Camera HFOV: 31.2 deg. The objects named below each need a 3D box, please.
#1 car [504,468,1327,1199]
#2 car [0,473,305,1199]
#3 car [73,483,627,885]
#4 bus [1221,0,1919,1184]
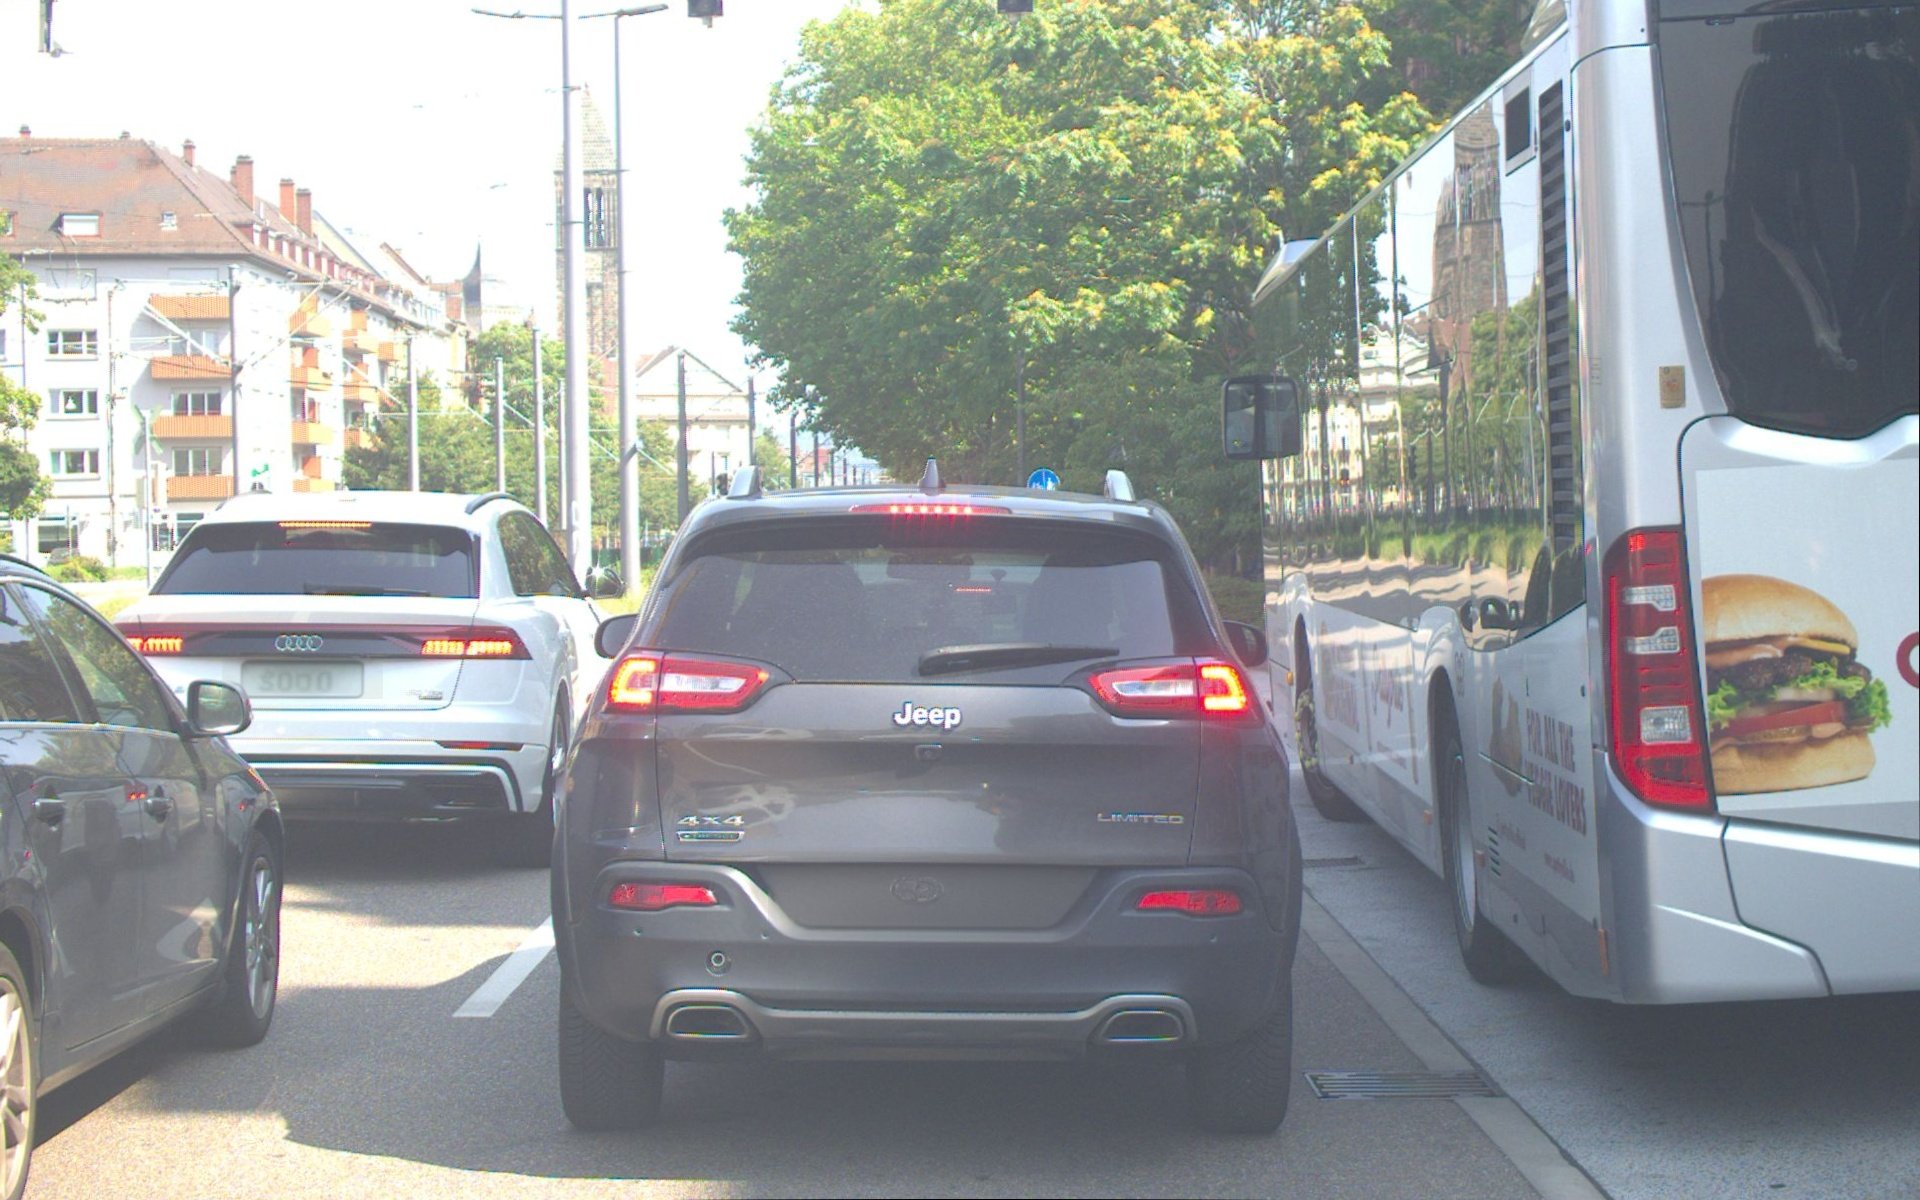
[{"bbox_3d":[-0.090,0.485,9.860,1.832,1.646,4.308,0,1,0],"label":"car"},{"bbox_3d":[-2.866,0.507,8.434,1.747,1.609,4.309,0,1,-1],"label":"car"},{"bbox_3d":[-2.706,0.292,16.243,1.902,1.646,4.309,0,1,-1],"label":"car"},{"bbox_3d":[2.864,-0.400,13.829,2.743,3.096,11.956,-3,1,1],"label":"bus"}]
